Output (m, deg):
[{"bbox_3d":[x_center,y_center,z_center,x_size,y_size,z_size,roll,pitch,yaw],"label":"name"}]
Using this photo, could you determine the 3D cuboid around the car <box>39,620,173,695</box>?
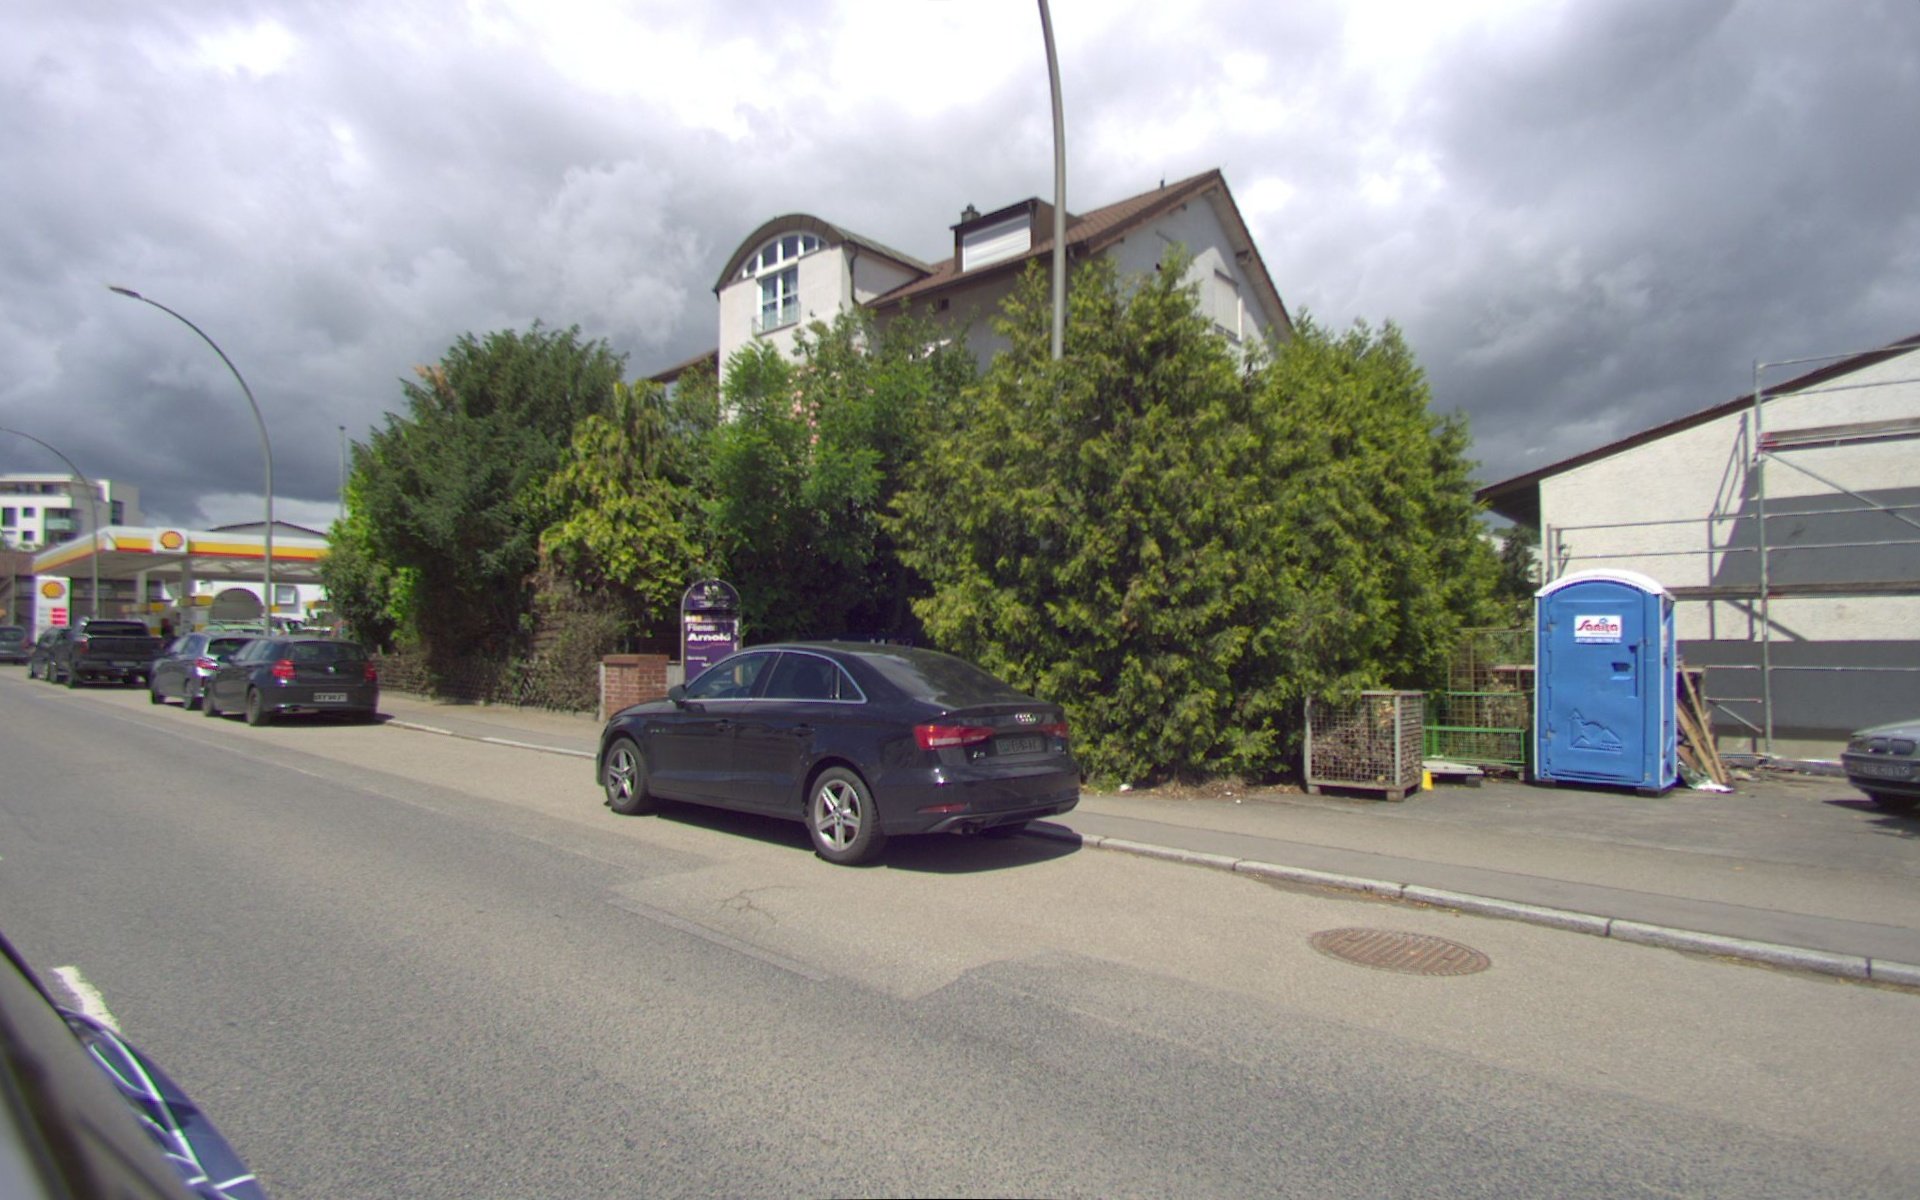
[{"bbox_3d":[-23.330,1.557,27.567,5.427,1.835,1.891,-2,-6,41],"label":"car"}]

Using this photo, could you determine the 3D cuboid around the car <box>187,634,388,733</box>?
[{"bbox_3d":[-11.260,1.330,16.829,4.336,1.446,1.645,-2,-5,41],"label":"car"}]

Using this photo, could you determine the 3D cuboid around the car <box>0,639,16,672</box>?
[{"bbox_3d":[-47.075,2.633,48.864,4.188,1.526,1.645,-2,-6,41],"label":"car"}]

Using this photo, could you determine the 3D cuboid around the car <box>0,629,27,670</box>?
[{"bbox_3d":[-43.224,2.191,45.190,4.188,1.751,1.711,-2,-6,41],"label":"car"}]

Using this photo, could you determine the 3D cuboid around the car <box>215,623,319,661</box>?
[{"bbox_3d":[-35.440,2.129,51.949,1.947,1.866,4.983,0,-2,-1],"label":"car"}]

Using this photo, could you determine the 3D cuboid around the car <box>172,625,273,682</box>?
[{"bbox_3d":[-24.738,1.751,33.881,4.335,1.799,1.774,-2,-2,40],"label":"car"}]

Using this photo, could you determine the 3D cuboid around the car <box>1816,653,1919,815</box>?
[{"bbox_3d":[10.245,1.228,8.969,3.936,1.398,1.896,2,-4,-9],"label":"car"}]

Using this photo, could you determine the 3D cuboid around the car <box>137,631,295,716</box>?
[{"bbox_3d":[-14.850,1.437,20.131,3.942,1.523,1.645,-2,-6,41],"label":"car"}]

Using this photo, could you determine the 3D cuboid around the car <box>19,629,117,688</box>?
[{"bbox_3d":[-27.578,1.778,31.243,4.524,1.693,1.645,-2,-5,41],"label":"car"}]

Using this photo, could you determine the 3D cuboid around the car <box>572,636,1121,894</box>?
[{"bbox_3d":[-1.066,1.011,7.671,4.336,1.425,1.645,-2,-4,41],"label":"car"}]

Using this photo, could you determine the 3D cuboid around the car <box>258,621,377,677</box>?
[{"bbox_3d":[-22.588,1.664,35.539,4.322,1.799,1.779,-1,1,31],"label":"car"}]
